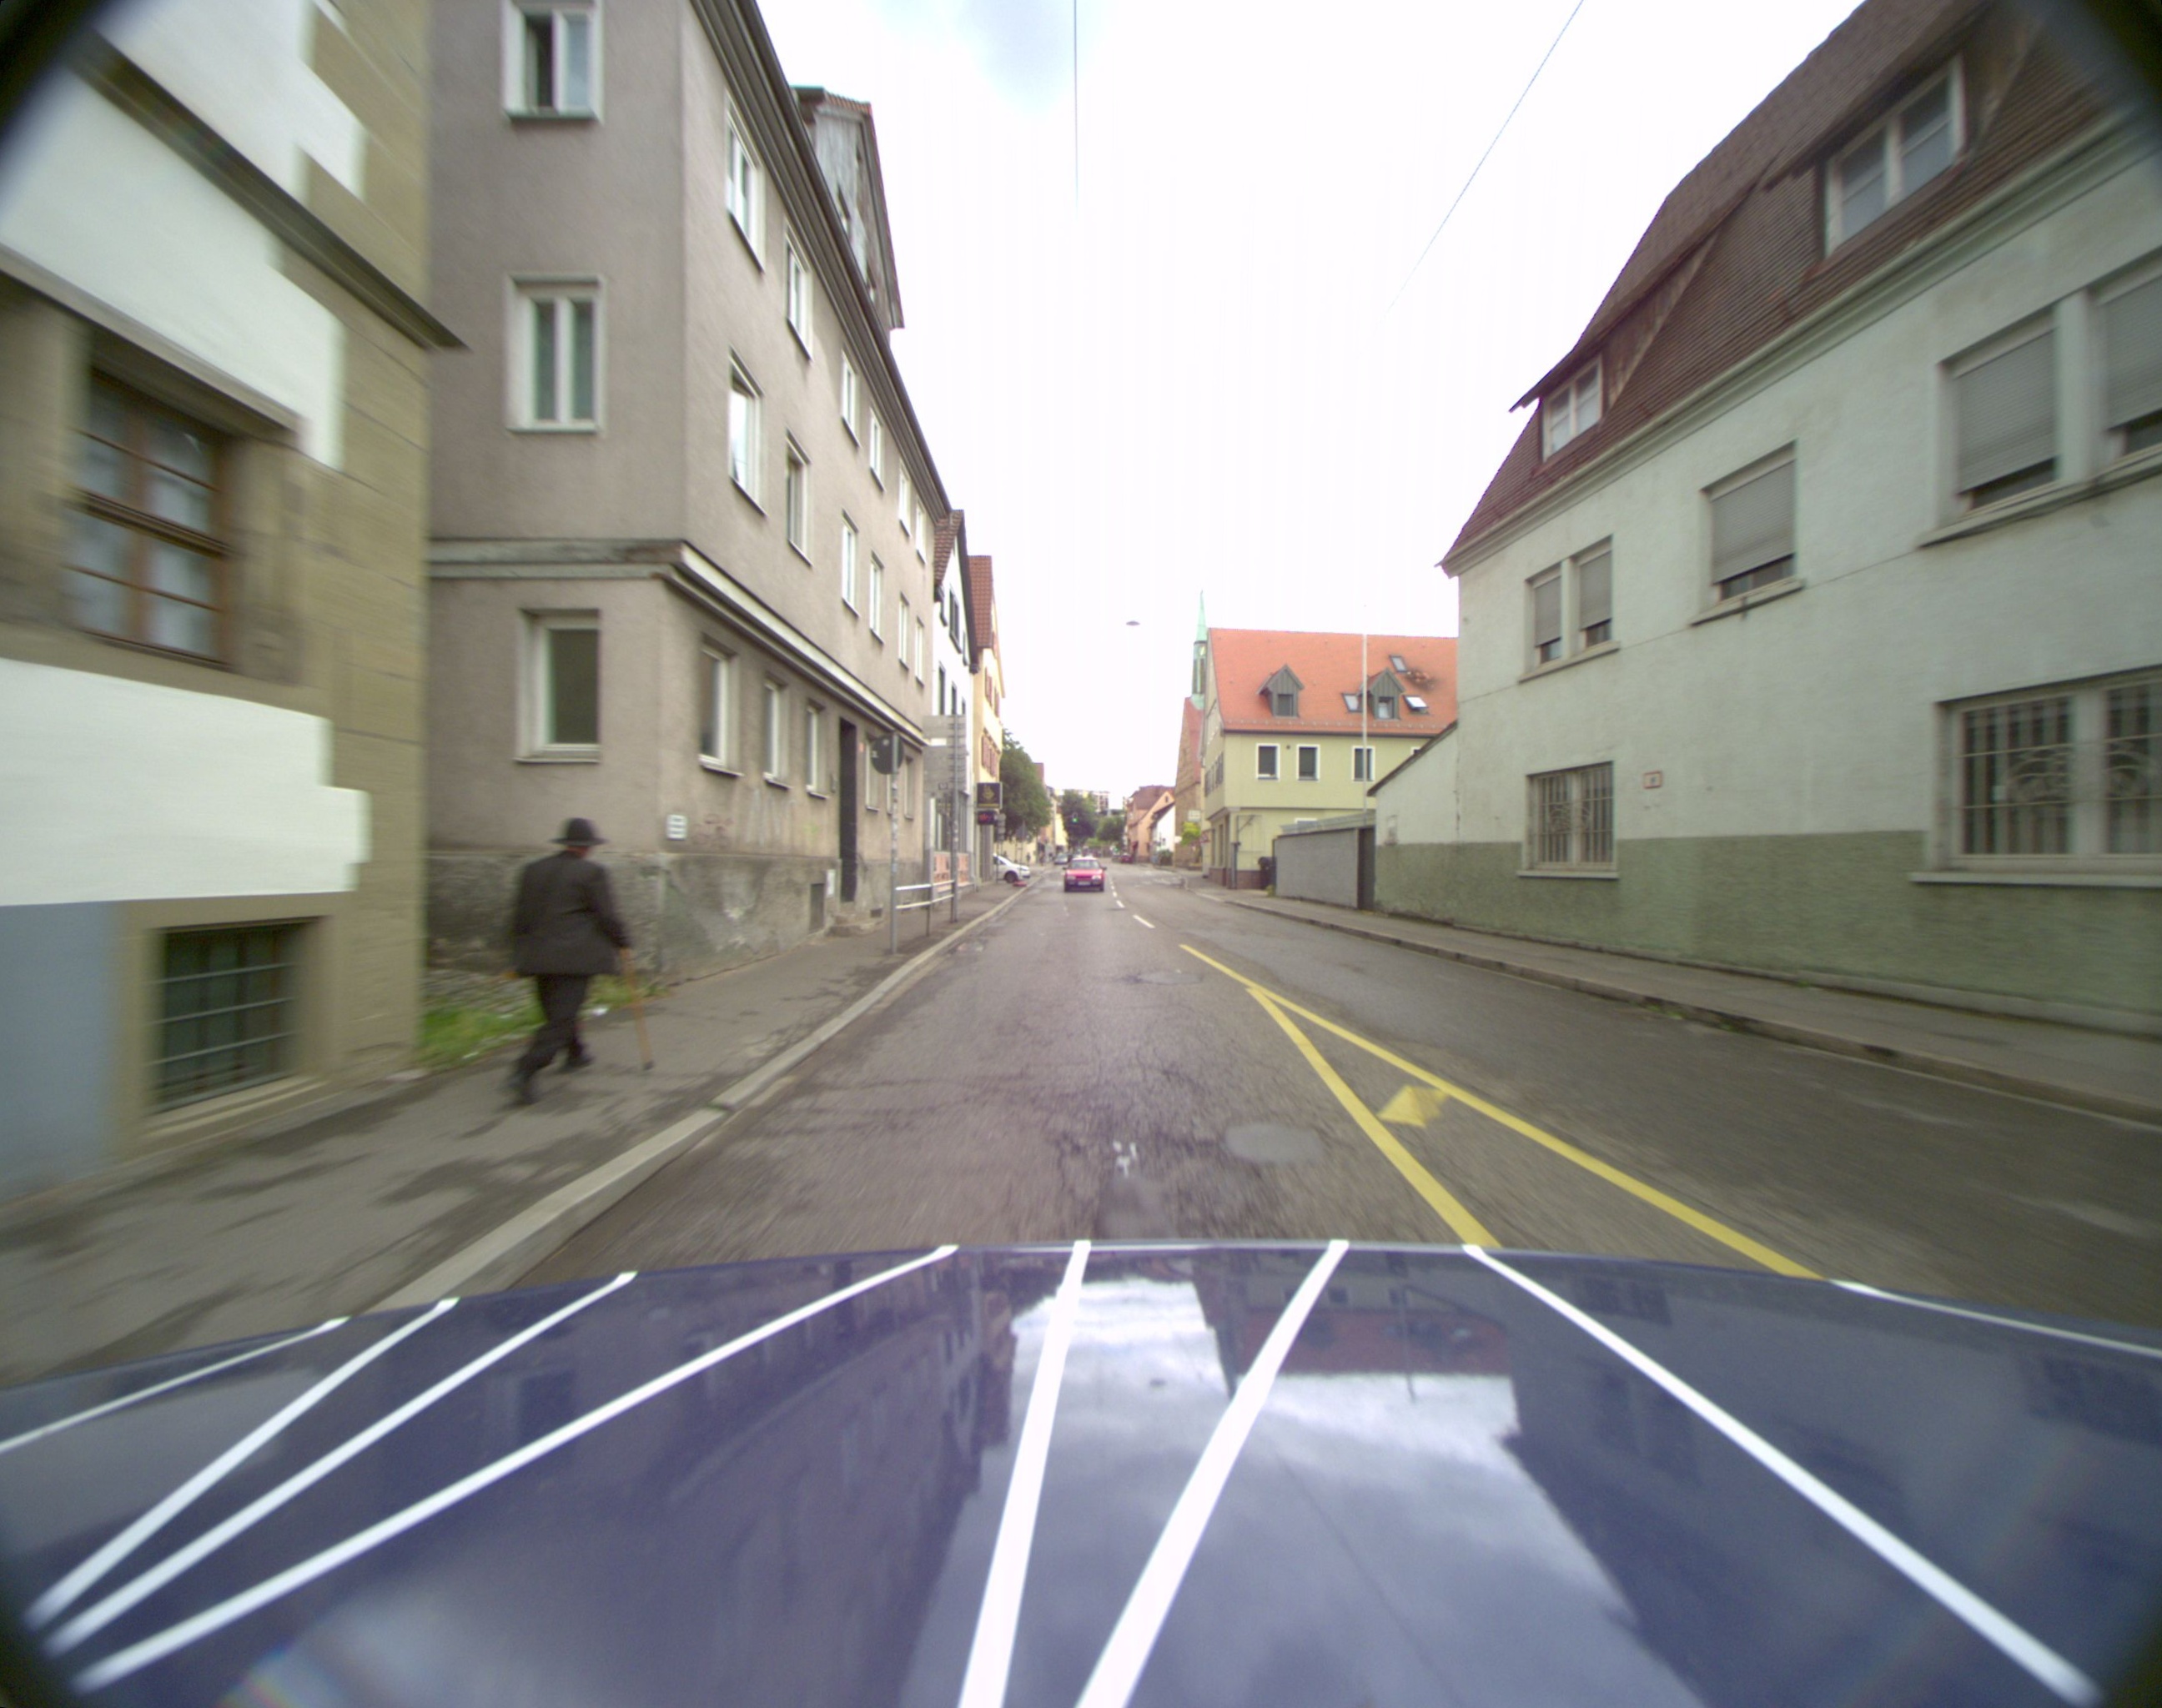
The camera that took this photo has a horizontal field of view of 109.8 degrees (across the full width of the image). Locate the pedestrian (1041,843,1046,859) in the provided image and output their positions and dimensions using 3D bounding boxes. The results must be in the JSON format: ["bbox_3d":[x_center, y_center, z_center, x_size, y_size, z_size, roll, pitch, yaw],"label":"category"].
[{"bbox_3d":[-4.958,-0.402,99.883,0.660,2.103,0.646,1,0,-1],"label":"pedestrian"}]

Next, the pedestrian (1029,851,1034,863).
[{"bbox_3d":[-5.781,0.345,88.795,0.599,1.435,0.772,1,1,0],"label":"pedestrian"}]

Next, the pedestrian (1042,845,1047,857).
[{"bbox_3d":[-4.378,-0.341,91.415,0.599,1.435,0.771,1,1,-3],"label":"pedestrian"}]

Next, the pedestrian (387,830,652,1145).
[{"bbox_3d":[-3.246,0.704,4.495,0.834,1.646,0.944,2,1,0],"label":"pedestrian"}]

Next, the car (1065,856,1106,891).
[{"bbox_3d":[0.219,0.811,32.797,1.685,1.418,4.021,0,0,1],"label":"car"}]

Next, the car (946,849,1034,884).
[{"bbox_3d":[-4.810,0.635,40.644,4.464,1.777,1.999,0,2,-1],"label":"car"}]

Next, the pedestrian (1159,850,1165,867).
[{"bbox_3d":[10.328,0.534,96.769,0.758,2.109,0.783,0,0,1],"label":"pedestrian"}]

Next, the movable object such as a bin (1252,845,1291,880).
[{"bbox_3d":[8.146,0.364,32.518,1.312,1.467,1.099,-1,1,-9],"label":"movable object such as a bin"}]

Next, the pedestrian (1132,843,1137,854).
[{"bbox_3d":[9.355,-0.936,133.187,0.836,2.002,0.845,0,1,-2],"label":"pedestrian"}]

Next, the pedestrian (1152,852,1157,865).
[{"bbox_3d":[9.360,0.534,96.875,0.637,1.597,0.711,1,1,0],"label":"pedestrian"}]
